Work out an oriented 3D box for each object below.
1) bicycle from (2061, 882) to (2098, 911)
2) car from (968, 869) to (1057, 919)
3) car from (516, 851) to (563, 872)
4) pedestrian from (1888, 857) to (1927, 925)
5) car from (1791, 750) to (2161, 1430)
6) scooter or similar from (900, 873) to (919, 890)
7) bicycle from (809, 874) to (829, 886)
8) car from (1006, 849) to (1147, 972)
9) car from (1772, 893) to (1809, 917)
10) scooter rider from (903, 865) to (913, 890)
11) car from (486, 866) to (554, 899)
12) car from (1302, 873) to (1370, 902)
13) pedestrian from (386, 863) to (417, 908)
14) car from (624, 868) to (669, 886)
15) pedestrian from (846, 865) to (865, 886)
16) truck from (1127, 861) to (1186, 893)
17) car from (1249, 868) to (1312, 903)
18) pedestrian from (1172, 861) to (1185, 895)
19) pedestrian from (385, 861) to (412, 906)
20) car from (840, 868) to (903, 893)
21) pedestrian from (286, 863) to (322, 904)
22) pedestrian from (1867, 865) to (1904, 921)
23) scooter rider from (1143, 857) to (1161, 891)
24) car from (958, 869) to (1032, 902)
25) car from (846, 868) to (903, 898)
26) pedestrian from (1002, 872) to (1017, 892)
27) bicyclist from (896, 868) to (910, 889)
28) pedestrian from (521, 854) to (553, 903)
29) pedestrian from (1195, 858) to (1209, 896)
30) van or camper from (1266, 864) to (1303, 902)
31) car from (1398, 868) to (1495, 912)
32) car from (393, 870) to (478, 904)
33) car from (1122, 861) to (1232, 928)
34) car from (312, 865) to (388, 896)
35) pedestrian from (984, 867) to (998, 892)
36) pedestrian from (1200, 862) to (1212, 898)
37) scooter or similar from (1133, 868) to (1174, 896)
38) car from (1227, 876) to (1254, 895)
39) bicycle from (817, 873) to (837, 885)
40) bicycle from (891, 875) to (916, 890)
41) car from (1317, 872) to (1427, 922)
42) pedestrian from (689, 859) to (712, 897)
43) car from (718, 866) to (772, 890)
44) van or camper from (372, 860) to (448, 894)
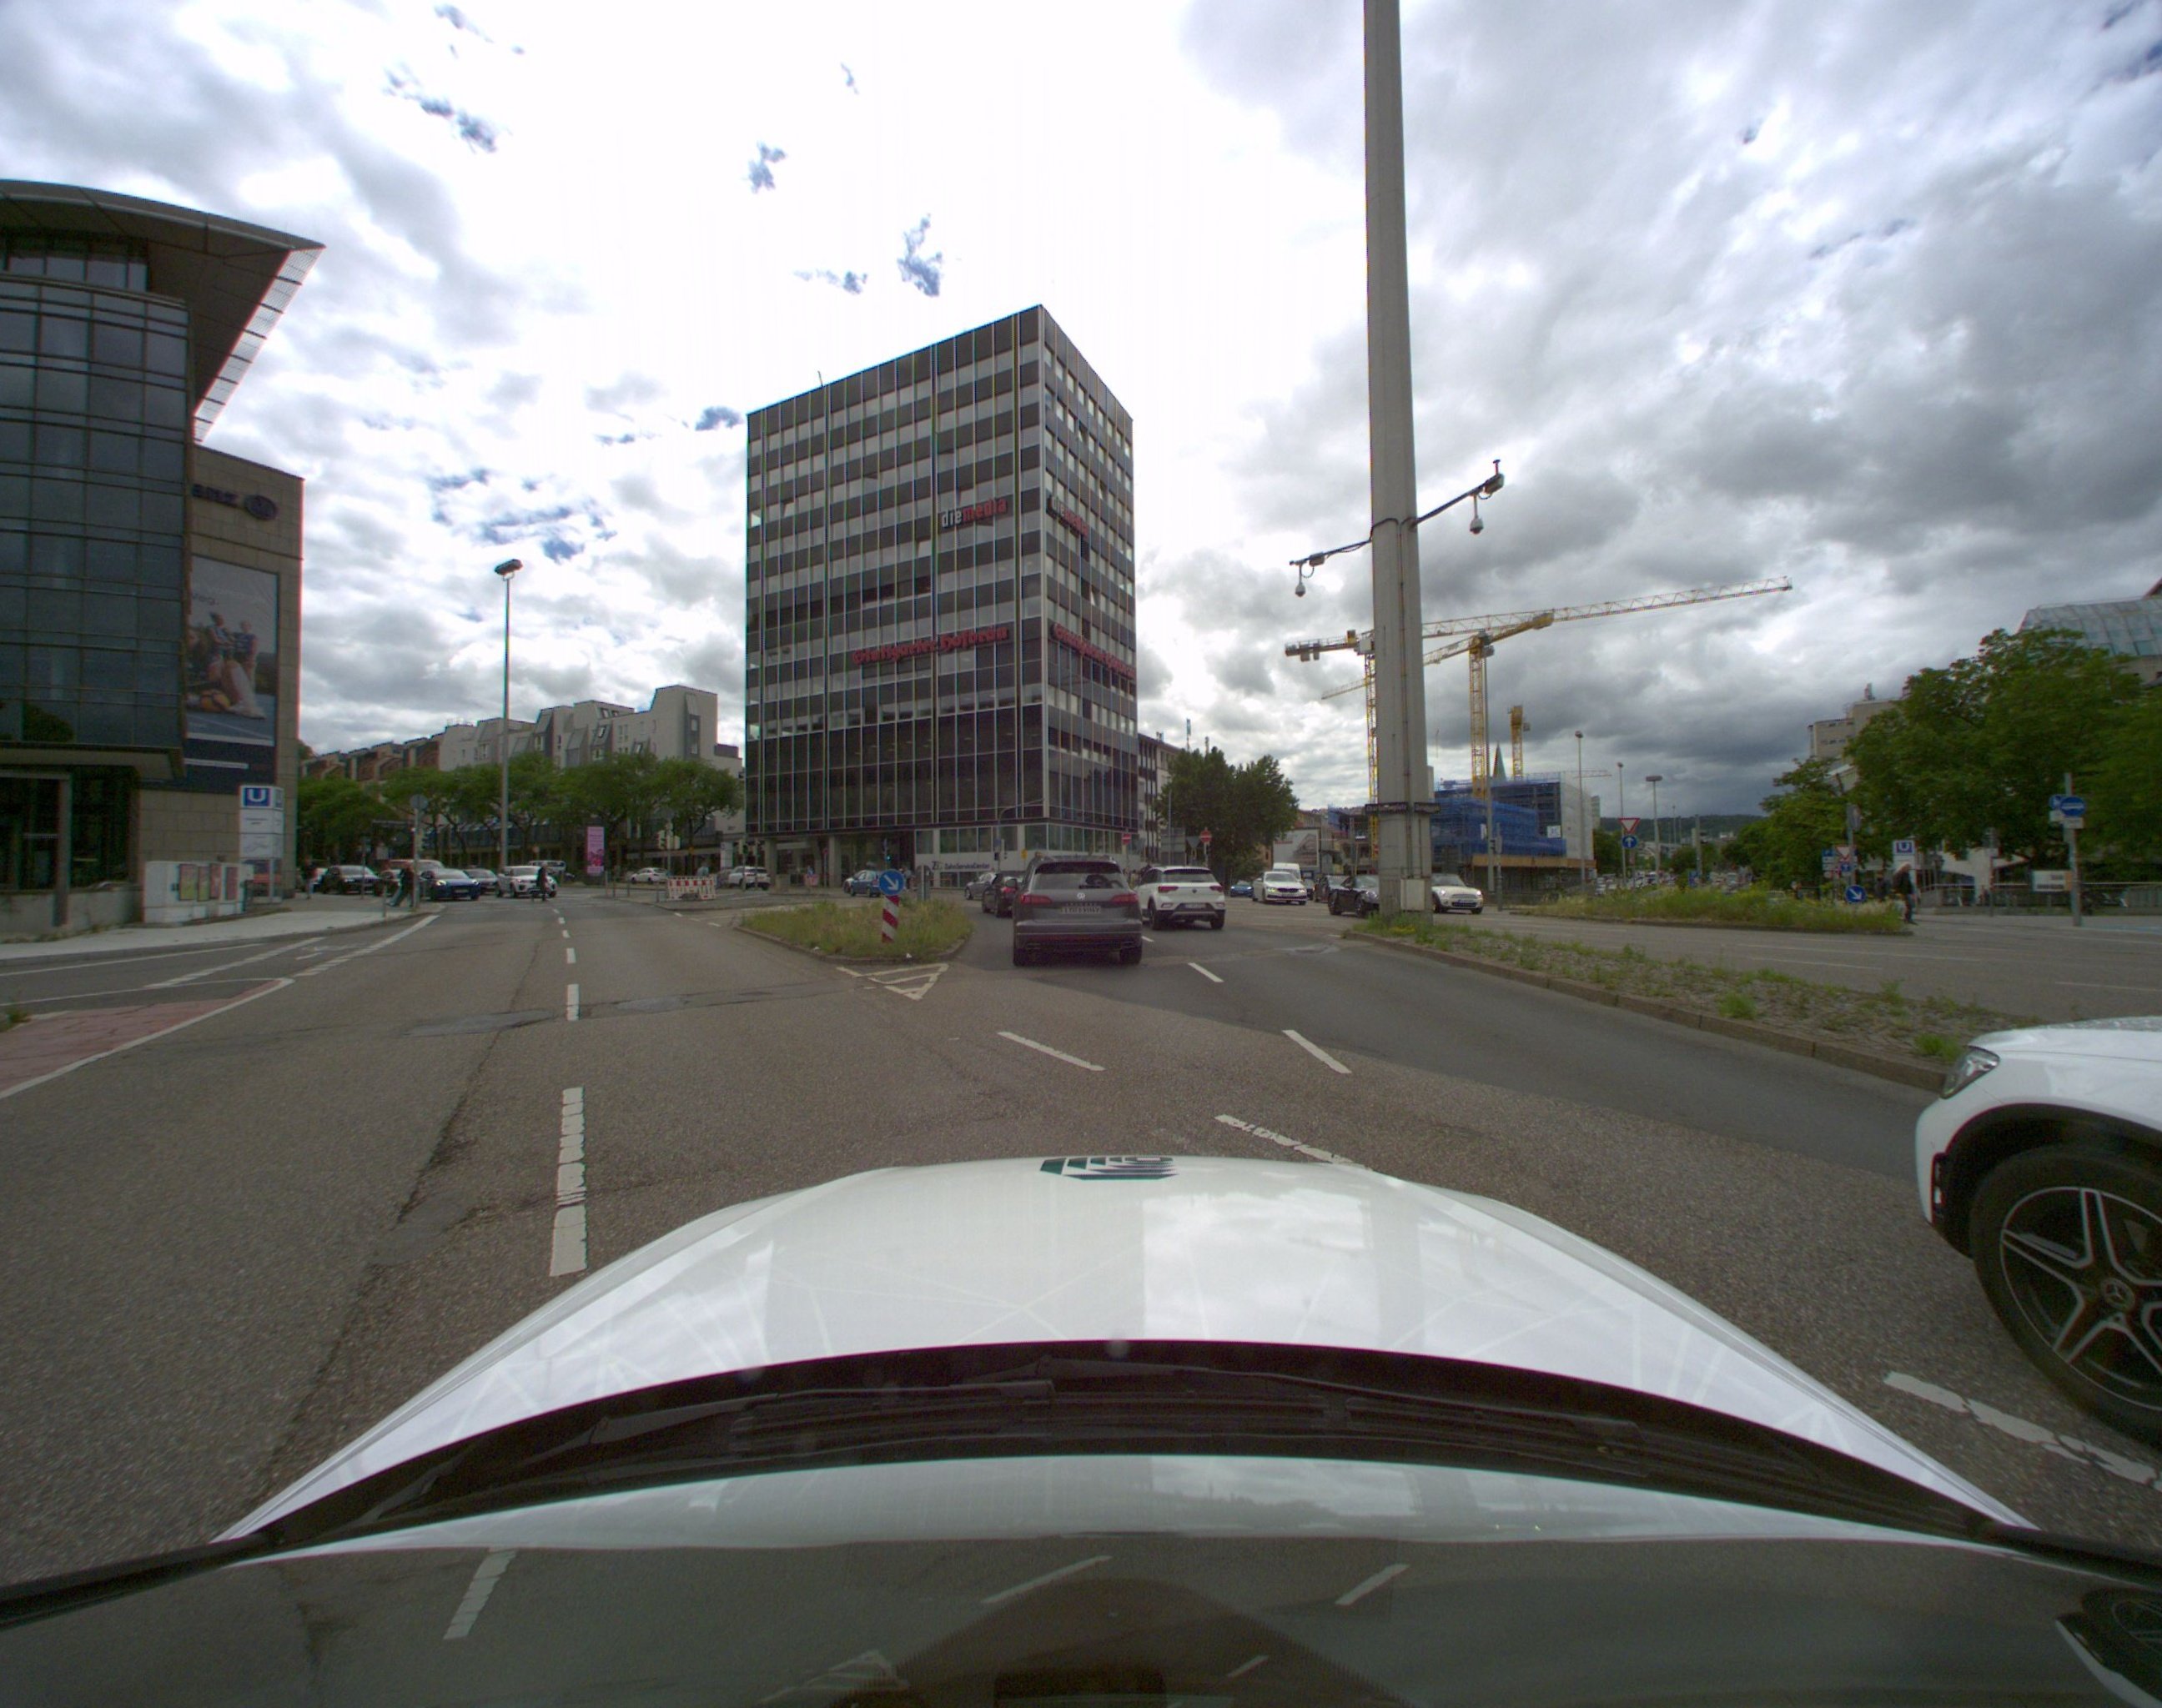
[{"bbox_3d":[38.943,1.654,31.791,0.613,1.086,1.783,-1,-2,42],"label":"bicycle"},{"bbox_3d":[-2.270,1.214,25.851,1.839,1.395,4.121,2,-1,-19],"label":"car"},{"bbox_3d":[-49.411,0.678,74.271,4.807,1.874,1.850,-1,-1,34],"label":"car"},{"bbox_3d":[23.474,1.032,23.142,0.552,1.895,0.642,-1,0,21],"label":"pedestrian"},{"bbox_3d":[3.476,0.558,0.835,1.795,1.646,4.335,-1,0,1],"label":"car"},{"bbox_3d":[-12.364,2.002,58.751,1.319,1.176,0.591,-1,-1,-10],"label":"scooter or similar"},{"bbox_3d":[-22.366,2.210,69.528,1.472,1.048,0.716,0,-2,11],"label":"bicycle"},{"bbox_3d":[-0.224,0.783,13.471,1.967,1.695,4.217,0,0,-5],"label":"car"},{"bbox_3d":[49.307,3.536,56.622,1.856,1.602,4.024,-1,-3,41],"label":"car"},{"bbox_3d":[-12.493,1.713,58.732,0.641,1.809,0.591,-1,-1,-9],"label":"scooter rider"},{"bbox_3d":[-28.773,1.435,41.705,4.263,1.599,1.751,-1,-1,39],"label":"car"},{"bbox_3d":[12.486,1.621,40.168,1.749,1.333,4.407,1,-2,-3],"label":"car"},{"bbox_3d":[-26.148,1.215,31.347,0.624,1.701,0.774,-1,-2,36],"label":"pedestrian"},{"bbox_3d":[-37.773,1.987,70.730,4.278,1.418,2.075,-1,0,41],"label":"car"},{"bbox_3d":[-17.629,1.655,63.636,0.951,1.633,1.073,-1,-1,26],"label":"pedestrian"},{"bbox_3d":[7.624,2.317,81.092,2.315,3.064,8.250,-1,-2,32],"label":"truck"},{"bbox_3d":[9.106,1.424,37.565,1.985,1.504,5.043,0,-2,3],"label":"car"},{"bbox_3d":[5.209,1.271,43.486,0.637,1.797,0.612,1,-2,9],"label":"pedestrian"},{"bbox_3d":[-26.691,1.146,31.840,0.624,1.701,0.648,-1,-2,36],"label":"pedestrian"},{"bbox_3d":[-13.268,1.670,51.521,3.718,1.517,1.850,-1,-1,35],"label":"car"},{"bbox_3d":[-35.380,1.325,37.076,0.690,1.810,0.934,-1,-1,7],"label":"pedestrian"},{"bbox_3d":[25.994,1.251,26.327,0.743,1.789,0.833,-1,-2,39],"label":"pedestrian"},{"bbox_3d":[3.532,0.990,40.560,0.738,1.694,0.769,0,-2,16],"label":"scooter rider"},{"bbox_3d":[-4.292,1.524,40.127,1.847,1.432,4.103,3,-1,-35],"label":"car"},{"bbox_3d":[-11.330,1.535,44.510,1.846,1.517,3.726,0,-1,-35],"label":"car"},{"bbox_3d":[-5.039,1.968,57.438,0.828,1.443,0.609,-1,-1,28],"label":"pedestrian"},{"bbox_3d":[-13.073,1.812,59.895,0.840,1.549,0.566,-1,-1,3],"label":"bicyclist"},{"bbox_3d":[-24.604,1.090,36.820,0.755,2.172,0.882,0,-1,14],"label":"pedestrian"},{"bbox_3d":[6.249,1.190,41.986,0.636,1.955,0.613,0,-2,12],"label":"pedestrian"},{"bbox_3d":[13.844,1.940,55.702,2.126,2.477,6.178,1,-1,10],"label":"van or camper"},{"bbox_3d":[12.848,1.240,28.856,1.719,1.418,3.644,1,0,-2],"label":"car"},{"bbox_3d":[-31.022,1.559,39.143,4.038,1.525,2.013,-1,-1,33],"label":"car"},{"bbox_3d":[2.346,0.990,20.917,1.797,1.545,3.922,0,-1,-9],"label":"car"},{"bbox_3d":[-42.104,1.483,46.890,4.623,1.645,2.013,0,0,32],"label":"car"},{"bbox_3d":[-6.191,1.747,56.088,0.792,1.698,0.551,-1,-1,27],"label":"pedestrian"},{"bbox_3d":[6.697,1.388,43.587,0.637,1.910,0.612,0,-2,9],"label":"pedestrian"},{"bbox_3d":[3.609,1.385,40.526,1.867,1.407,0.780,0,-2,16],"label":"scooter or similar"},{"bbox_3d":[13.417,2.650,68.802,1.932,1.483,4.636,-1,-1,7],"label":"car"},{"bbox_3d":[-21.919,2.148,70.238,1.472,1.048,0.716,0,-2,11],"label":"bicycle"},{"bbox_3d":[-13.045,2.109,59.892,1.657,1.027,0.582,-1,-1,3],"label":"bicycle"},{"bbox_3d":[8.630,1.228,24.554,1.667,1.264,4.053,-2,0,-3],"label":"car"},{"bbox_3d":[-18.509,1.151,39.610,0.626,1.790,0.722,1,2,32],"label":"pedestrian"},{"bbox_3d":[-23.362,1.629,56.556,3.718,1.567,1.849,-1,-1,38],"label":"car"},{"bbox_3d":[-39.886,1.347,48.370,5.018,1.921,1.931,-1,0,32],"label":"van or camper"}]
